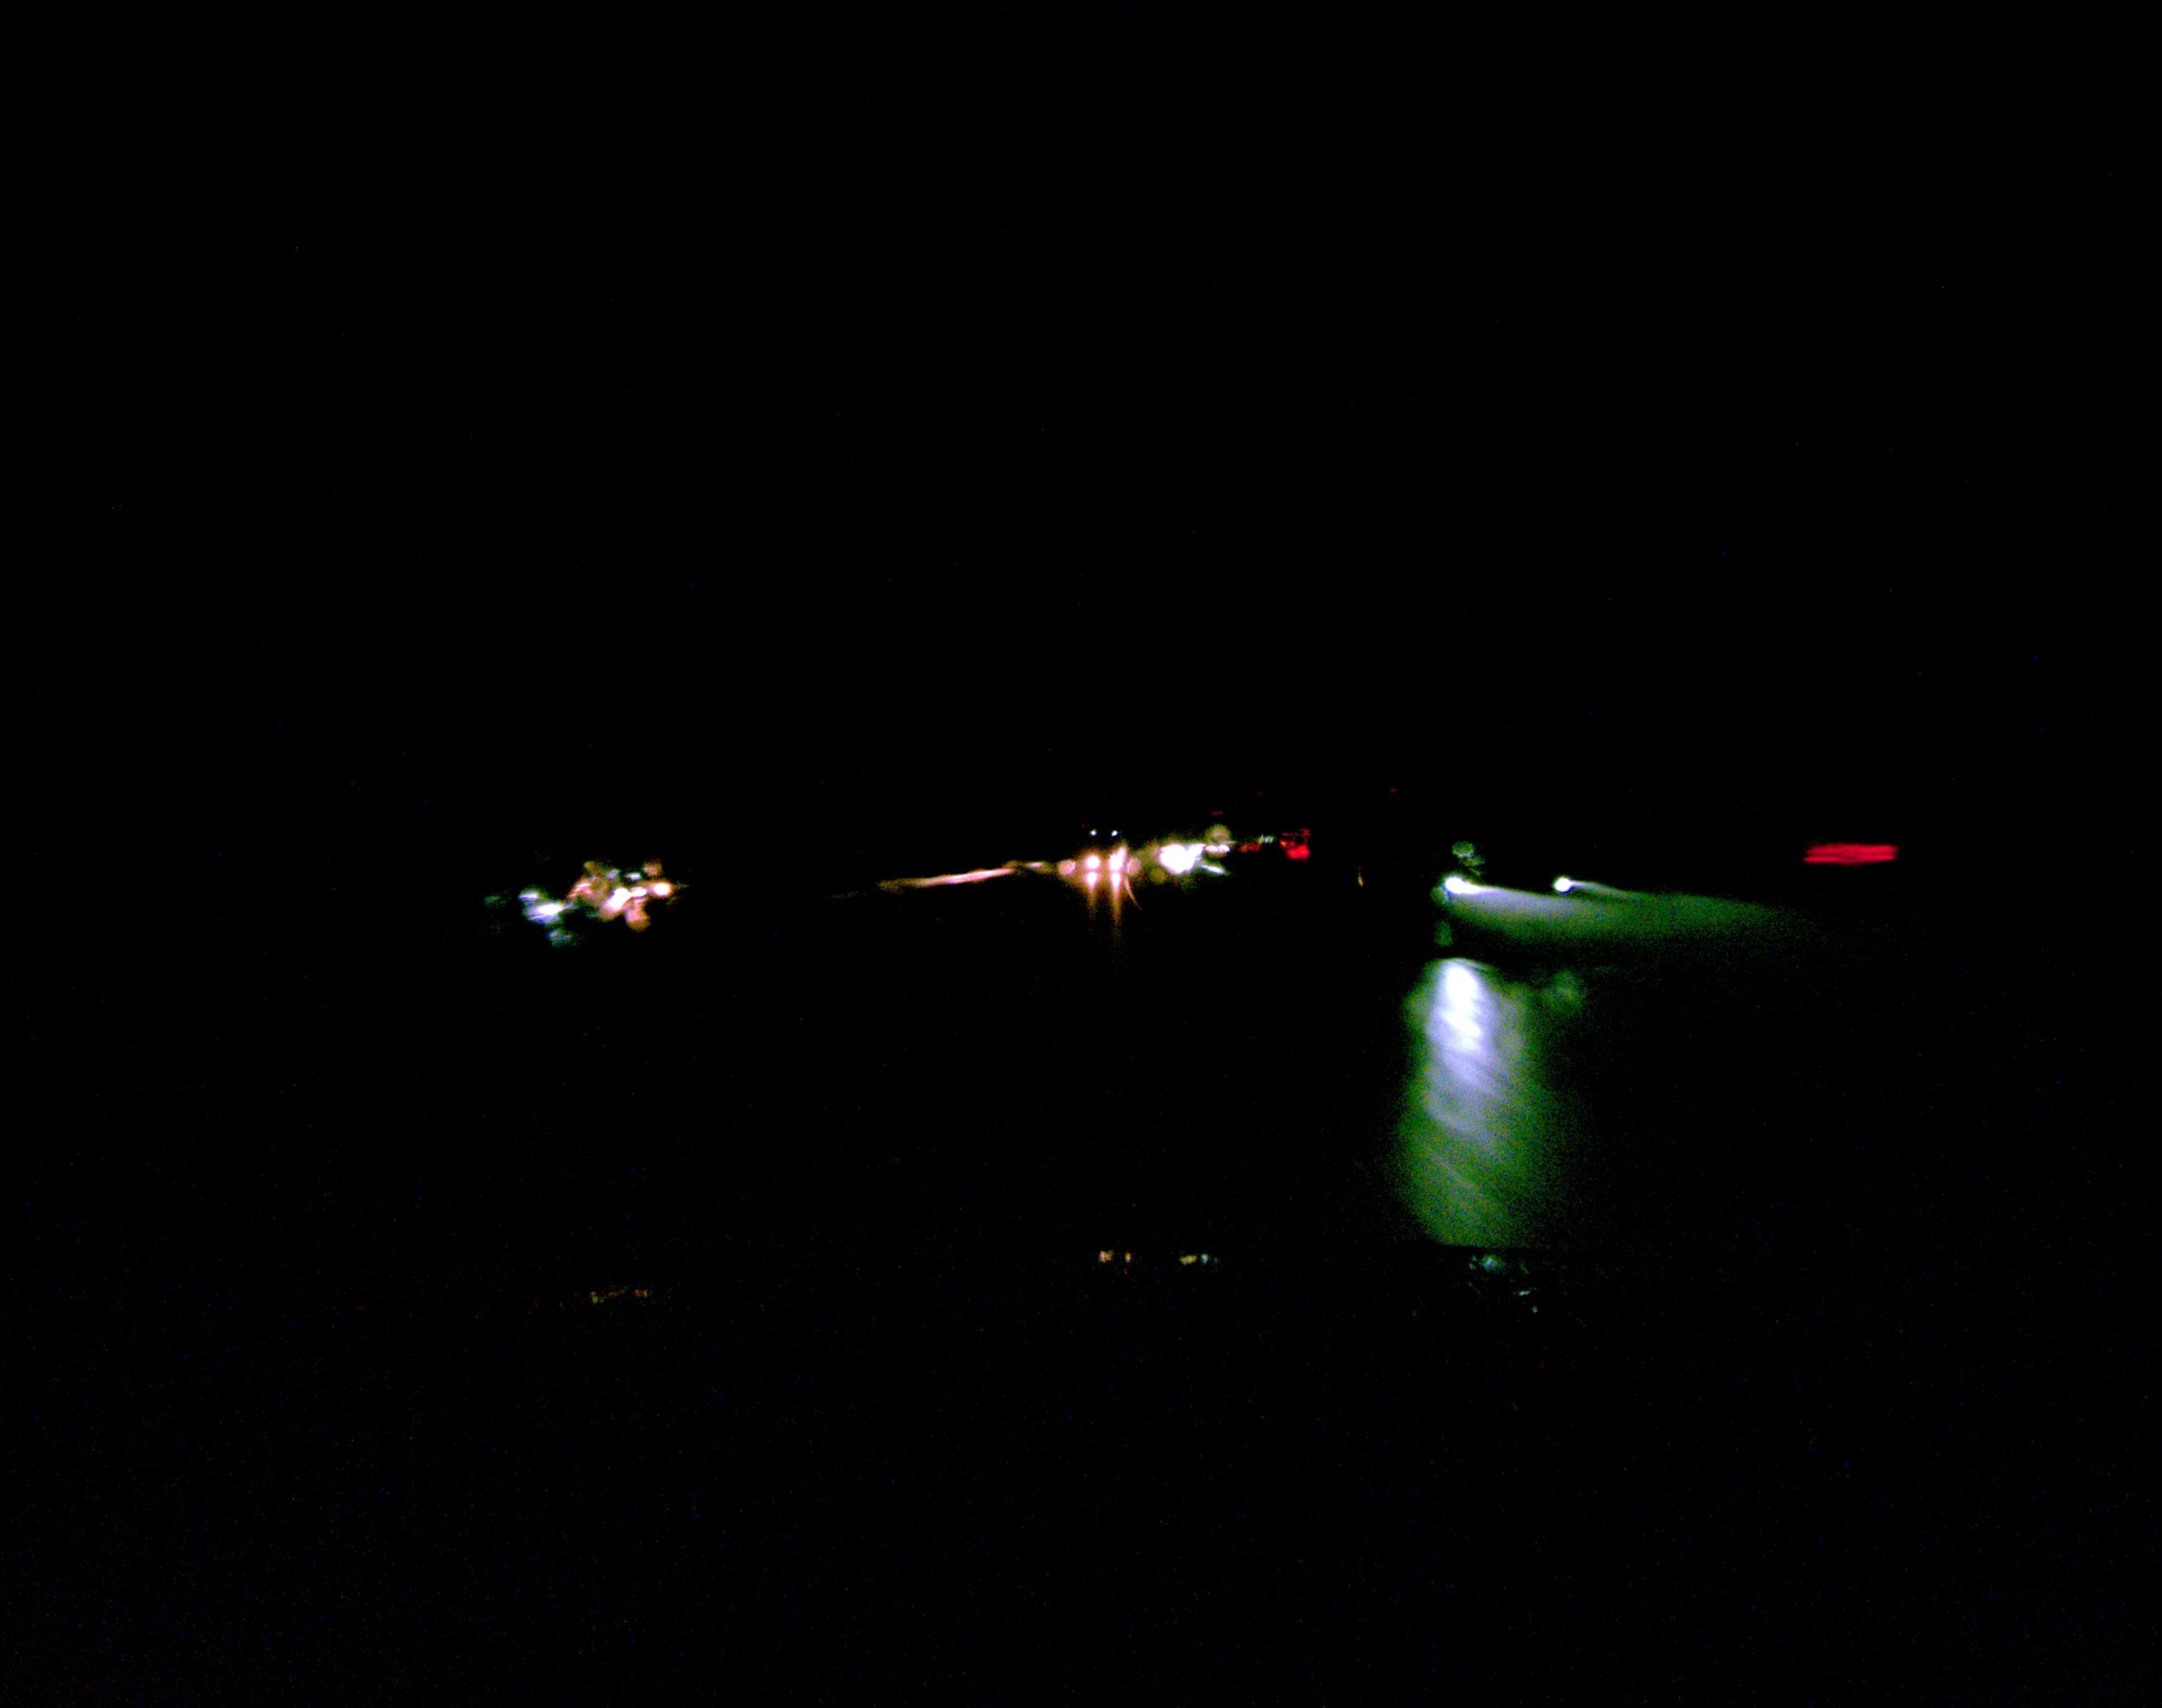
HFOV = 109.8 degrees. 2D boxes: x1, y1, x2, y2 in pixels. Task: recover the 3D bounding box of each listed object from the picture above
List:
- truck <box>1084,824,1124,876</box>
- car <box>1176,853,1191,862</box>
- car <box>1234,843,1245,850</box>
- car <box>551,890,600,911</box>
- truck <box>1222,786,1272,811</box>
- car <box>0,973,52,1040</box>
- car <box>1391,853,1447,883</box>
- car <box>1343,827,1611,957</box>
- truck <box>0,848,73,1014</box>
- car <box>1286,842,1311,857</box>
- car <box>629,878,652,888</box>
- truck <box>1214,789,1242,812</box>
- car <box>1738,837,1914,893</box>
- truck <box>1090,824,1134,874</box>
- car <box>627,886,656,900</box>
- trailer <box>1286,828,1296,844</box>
[{"bbox_3d":[2.042,-0.393,65.154,2.501,4.224,5.984,-1,2,9],"label":"truck"},{"bbox_3d":[15.508,0.544,115.056,1.711,1.286,3.992,-2,-1,2],"label":"car"},{"bbox_3d":[33.329,-1.586,159.863,1.746,1.484,4.001,-1,1,7],"label":"car"},{"bbox_3d":[-35.061,3.204,52.849,1.714,1.286,3.986,-2,-1,-17],"label":"car"},{"bbox_3d":[27.943,-9.306,128.539,2.420,3.759,11.210,-2,2,-20],"label":"truck"},{"bbox_3d":[-23.582,3.310,15.030,1.714,1.286,3.986,-2,-1,-15],"label":"car"},{"bbox_3d":[20.445,0.803,46.121,1.776,1.623,3.999,-1,2,2],"label":"car"},{"bbox_3d":[6.759,0.557,13.905,2.142,1.873,5.556,-1,0,2],"label":"car"},{"bbox_3d":[-27.581,2.139,14.051,2.769,4.199,13.804,-2,2,-16],"label":"truck"},{"bbox_3d":[24.841,-0.544,86.953,1.776,1.623,3.999,-1,2,2],"label":"car"},{"bbox_3d":[-60.030,3.976,103.522,1.713,1.286,3.987,-2,-1,-15],"label":"car"},{"bbox_3d":[25.875,-9.426,134.016,2.420,3.759,5.419,-2,2,-20],"label":"truck"},{"bbox_3d":[23.443,0.304,24.153,1.776,1.622,4.000,-1,0,2],"label":"car"},{"bbox_3d":[3.141,-0.630,72.209,2.501,4.224,13.647,-1,2,9],"label":"truck"},{"bbox_3d":[-45.184,4.007,78.221,1.714,1.286,3.986,-2,-1,-18],"label":"car"},{"bbox_3d":[68.438,-5.825,247.402,2.777,4.948,14.120,0,2,18],"label":"trailer"}]
